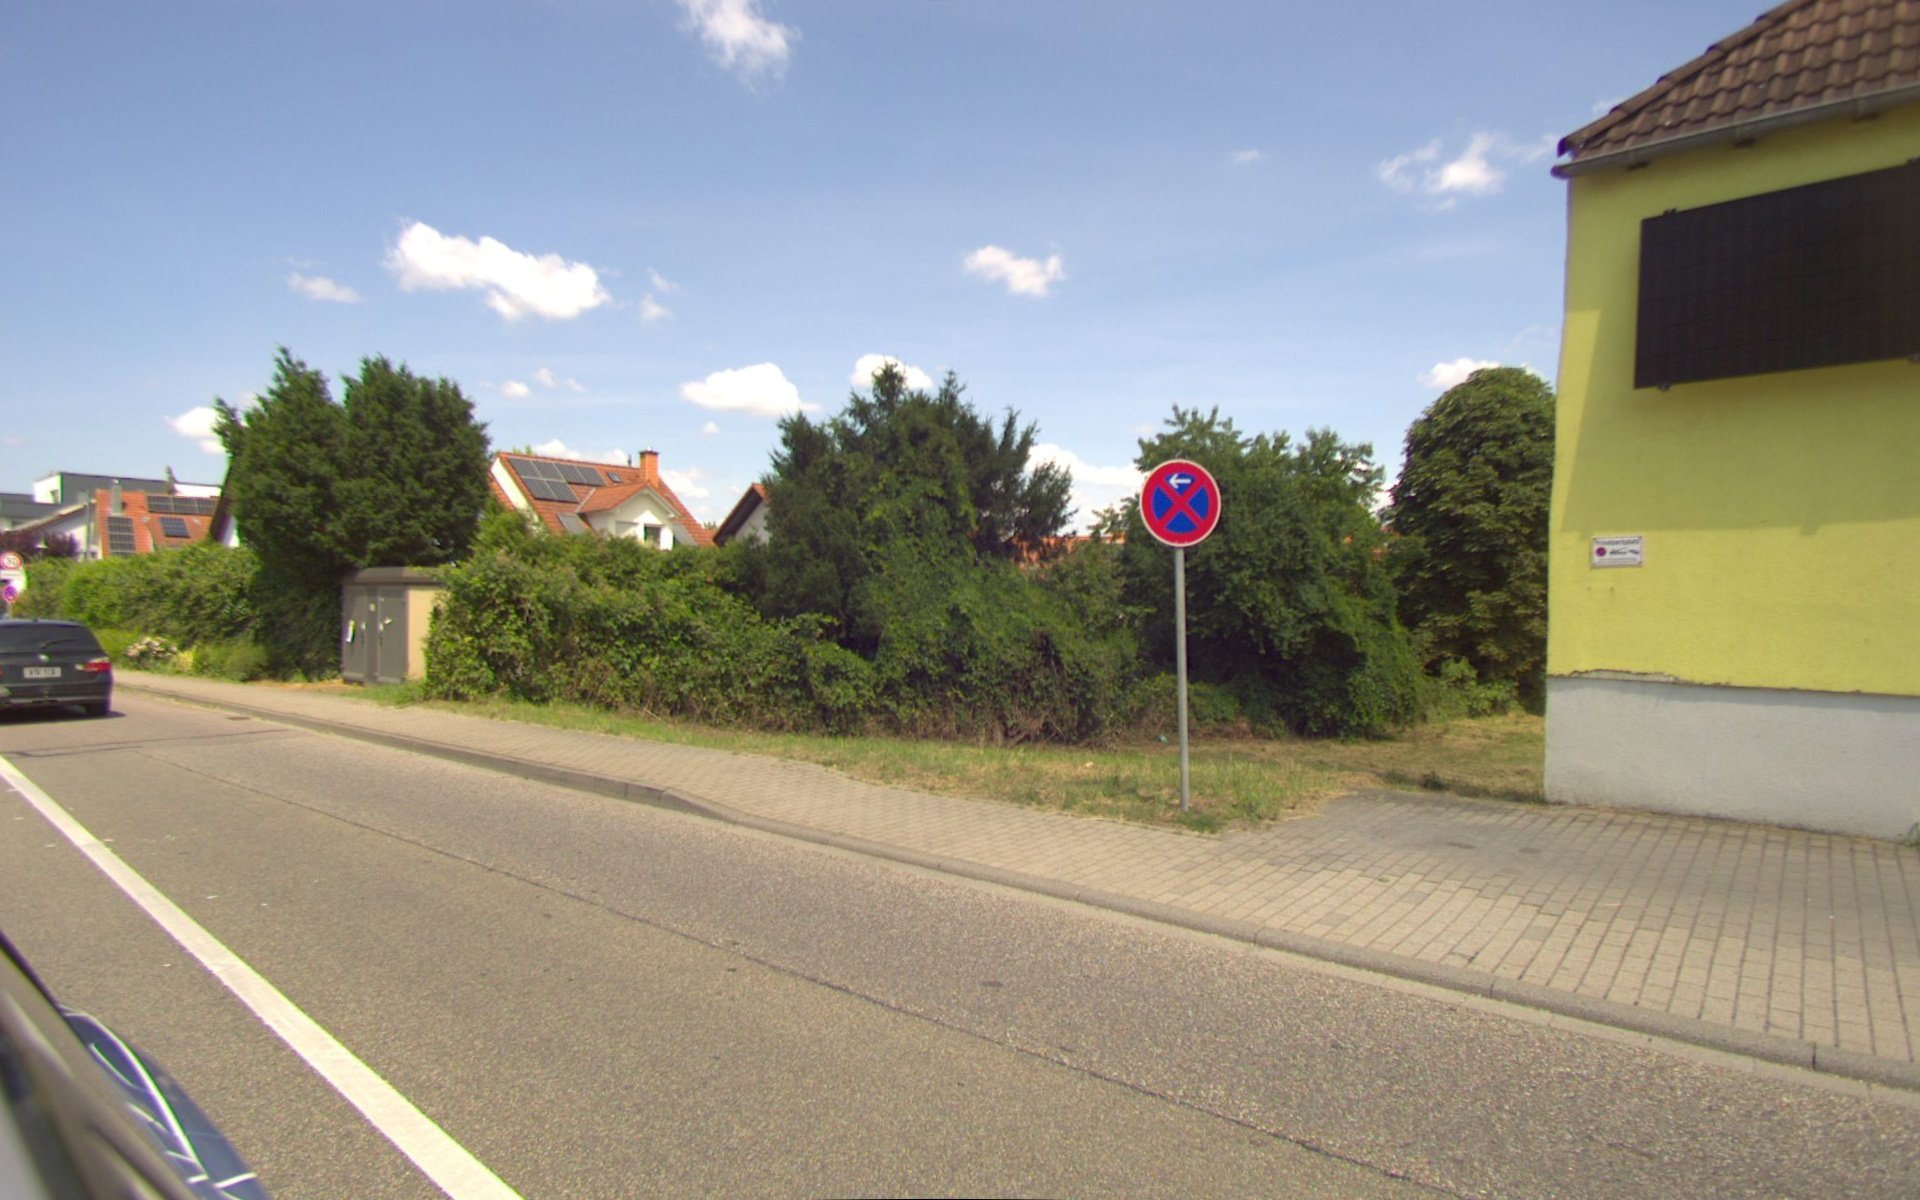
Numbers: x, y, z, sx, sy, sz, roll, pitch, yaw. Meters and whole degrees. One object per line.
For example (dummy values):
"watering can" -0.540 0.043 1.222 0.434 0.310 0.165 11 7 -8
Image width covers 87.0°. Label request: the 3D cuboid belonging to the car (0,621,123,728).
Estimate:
"car" -14.565 1.048 15.495 4.667 1.453 1.845 -1 -2 40
